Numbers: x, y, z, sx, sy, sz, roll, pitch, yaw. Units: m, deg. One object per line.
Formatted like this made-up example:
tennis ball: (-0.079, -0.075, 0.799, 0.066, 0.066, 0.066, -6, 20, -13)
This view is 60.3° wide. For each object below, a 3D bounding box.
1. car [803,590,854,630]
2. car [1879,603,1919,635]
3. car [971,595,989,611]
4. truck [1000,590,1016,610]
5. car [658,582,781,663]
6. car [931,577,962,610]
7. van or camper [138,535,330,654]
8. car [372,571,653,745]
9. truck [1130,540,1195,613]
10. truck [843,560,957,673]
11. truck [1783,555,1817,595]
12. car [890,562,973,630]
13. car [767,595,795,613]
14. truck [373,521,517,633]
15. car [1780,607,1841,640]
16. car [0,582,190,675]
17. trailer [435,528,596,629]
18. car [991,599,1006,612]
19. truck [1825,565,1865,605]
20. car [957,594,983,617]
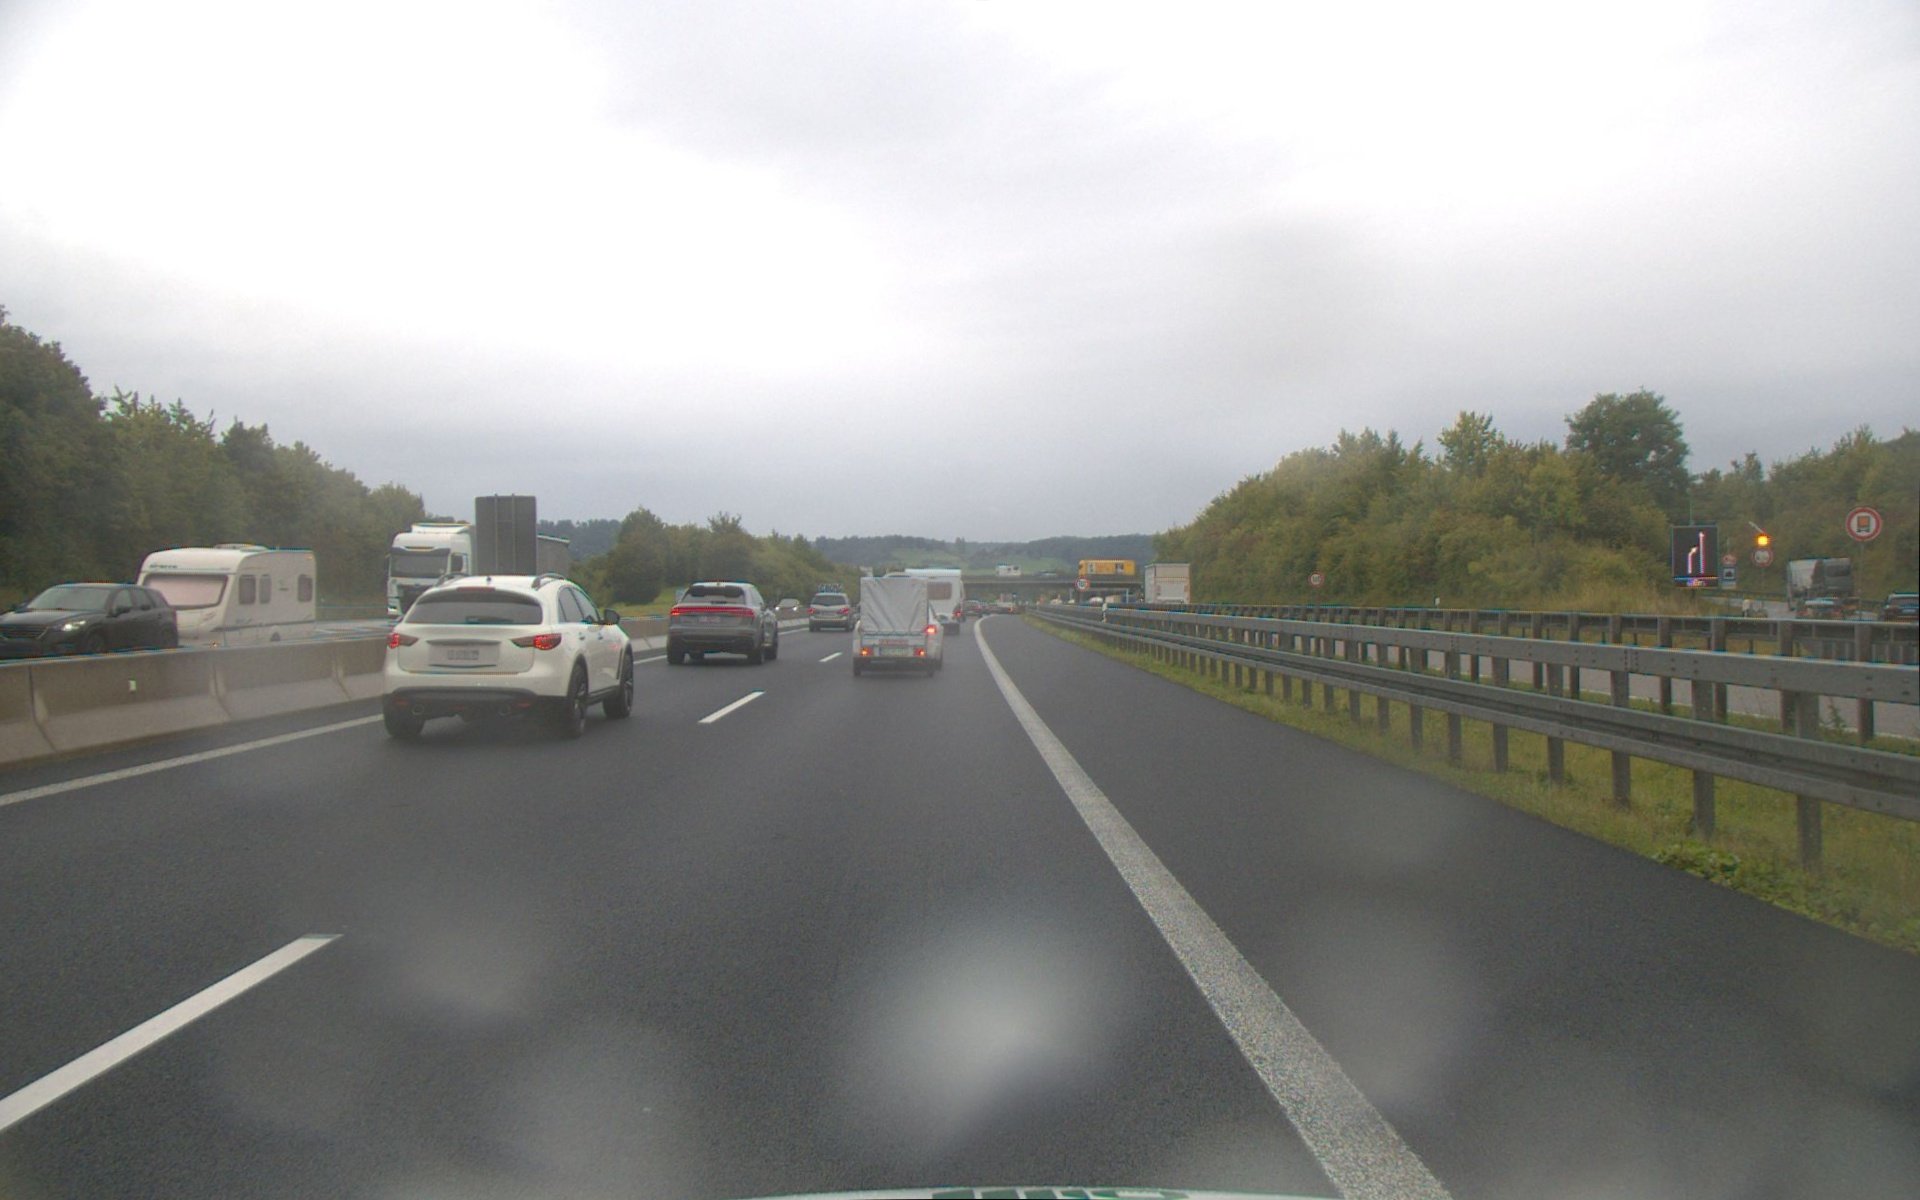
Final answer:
car: (-5.521, 0.397, 69.895, 1.861, 1.641, 4.017, 0, 0, 0)
car: (45.227, 0.884, 79.288, 1.823, 1.473, 4.154, 0, 0, 26)
car: (2.284, 0.302, 190.779, 1.952, 1.780, 4.001, 1, 0, 2)
truck: (7.566, 0.043, 260.013, 2.230, 3.136, 7.249, 1, 0, 3)
car: (-5.167, 0.463, 36.109, 2.130, 1.660, 4.499, 0, 0, -1)
car: (-0.910, -0.408, 107.588, 1.953, 2.071, 4.150, 1, 0, -1)
van or camper: (-16.338, -0.128, 37.579, 1.758, 2.513, 5.549, 0, 0, 2)
car: (-4.700, 0.559, 18.081, 1.936, 1.668, 4.499, 0, 0, -1)
truck: (14.940, -1.668, 123.033, 4.008, 5.193, 10.466, 0, 0, 2)
truck: (-1.084, 0.285, 33.270, 1.977, 2.020, 7.213, 0, 0, 0)
truck: (64.082, -1.847, 126.098, 2.202, 2.929, 8.162, 0, 0, 28)
car: (-1.098, -0.177, 67.590, 2.953, 2.662, 6.077, 0, 0, 3)
car: (-14.915, 0.306, 138.024, 1.861, 1.430, 4.379, 0, 0, 0)
truck: (-20.215, -0.869, 65.432, 3.192, 4.155, 7.443, 0, 0, 2)
car: (39.370, 1.058, 76.661, 1.820, 1.473, 4.160, 0, 0, 17)
car: (-16.414, 0.501, 31.530, 1.496, 1.648, 4.387, 0, 0, -1)
trailer: (-19.926, -0.914, 75.313, 3.192, 4.155, 13.848, 0, 0, 2)
car: (5.412, 0.751, 232.817, 1.952, 1.780, 4.002, 1, 0, 3)
truck: (61.989, -1.021, 115.817, 2.393, 2.752, 5.559, 0, 0, 29)
car: (0.859, 0.427, 134.740, 1.952, 1.780, 4.001, 1, 0, 2)
